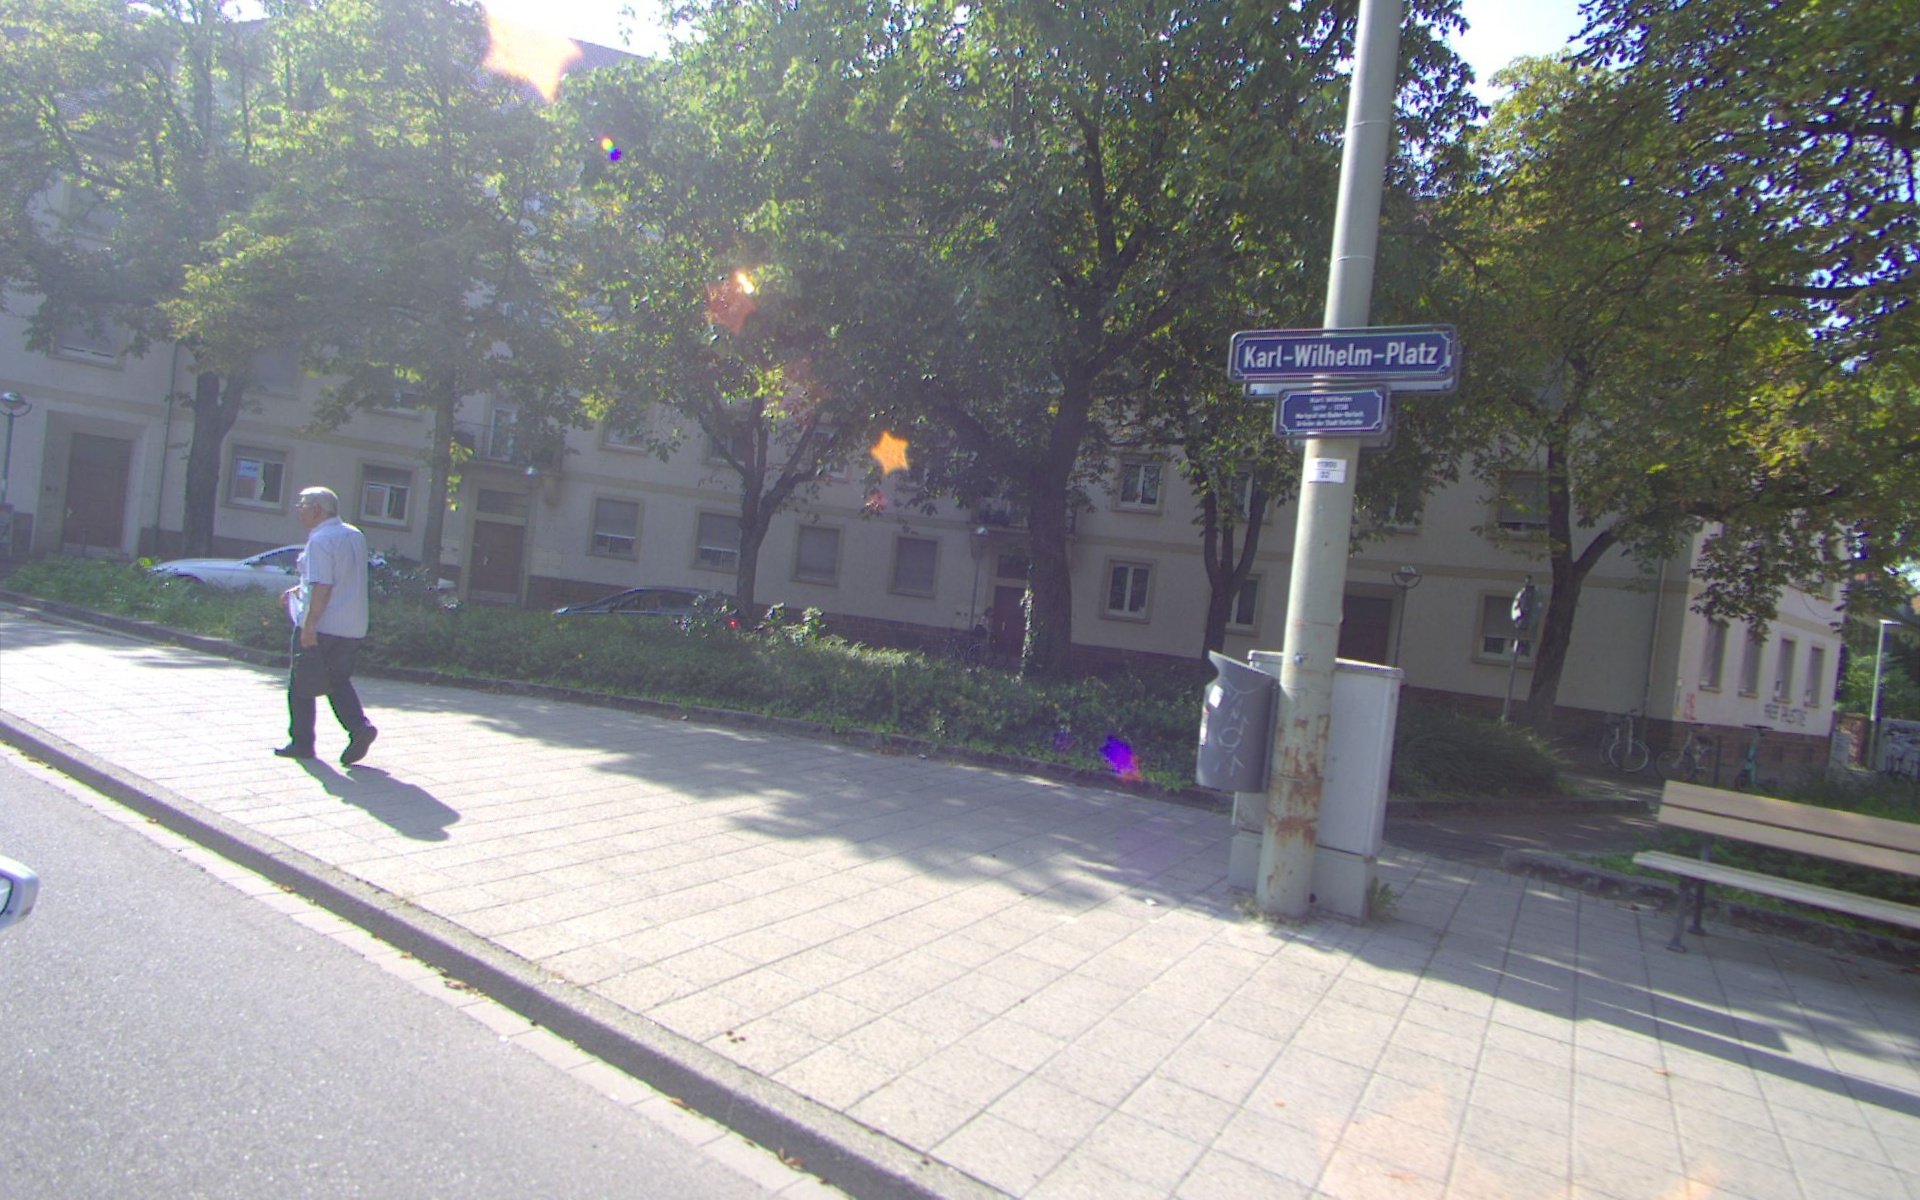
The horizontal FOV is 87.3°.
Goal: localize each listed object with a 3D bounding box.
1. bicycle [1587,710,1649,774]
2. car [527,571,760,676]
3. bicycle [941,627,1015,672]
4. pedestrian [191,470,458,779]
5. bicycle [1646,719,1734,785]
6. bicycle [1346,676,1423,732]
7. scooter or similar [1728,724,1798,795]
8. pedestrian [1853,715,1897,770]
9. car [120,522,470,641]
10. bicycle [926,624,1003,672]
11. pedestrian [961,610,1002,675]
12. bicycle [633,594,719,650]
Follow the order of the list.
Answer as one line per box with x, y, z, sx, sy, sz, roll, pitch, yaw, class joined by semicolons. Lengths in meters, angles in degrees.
13.088;2.805;20.053;0.597;1.071;1.869;7;-1;23;bicycle
-6.015;0.428;19.445;3.819;1.470;1.750;7;1;-2;car
0.502;1.377;28.006;1.873;1.019;0.534;7;0;12;bicycle
-4.054;0.127;6.453;0.953;1.748;1.076;7;3;32;pedestrian
13.768;2.870;18.966;1.820;1.071;0.603;7;-1;-31;bicycle
9.732;2.368;23.078;1.465;1.073;0.415;6;0;37;bicycle
14.742;2.933;18.464;1.098;1.172;0.439;7;0;-23;scooter or similar
28.479;4.441;31.302;0.852;1.566;0.762;7;0;-38;pedestrian
-11.866;-0.337;18.357;4.879;1.488;1.868;7;2;-17;car
0.126;1.258;26.604;1.873;1.019;0.534;7;0;12;bicycle
0.604;1.182;28.158;0.850;1.692;0.688;7;0;11;pedestrian
-6.945;0.540;24.649;1.806;1.071;0.608;9;0;1;bicycle
